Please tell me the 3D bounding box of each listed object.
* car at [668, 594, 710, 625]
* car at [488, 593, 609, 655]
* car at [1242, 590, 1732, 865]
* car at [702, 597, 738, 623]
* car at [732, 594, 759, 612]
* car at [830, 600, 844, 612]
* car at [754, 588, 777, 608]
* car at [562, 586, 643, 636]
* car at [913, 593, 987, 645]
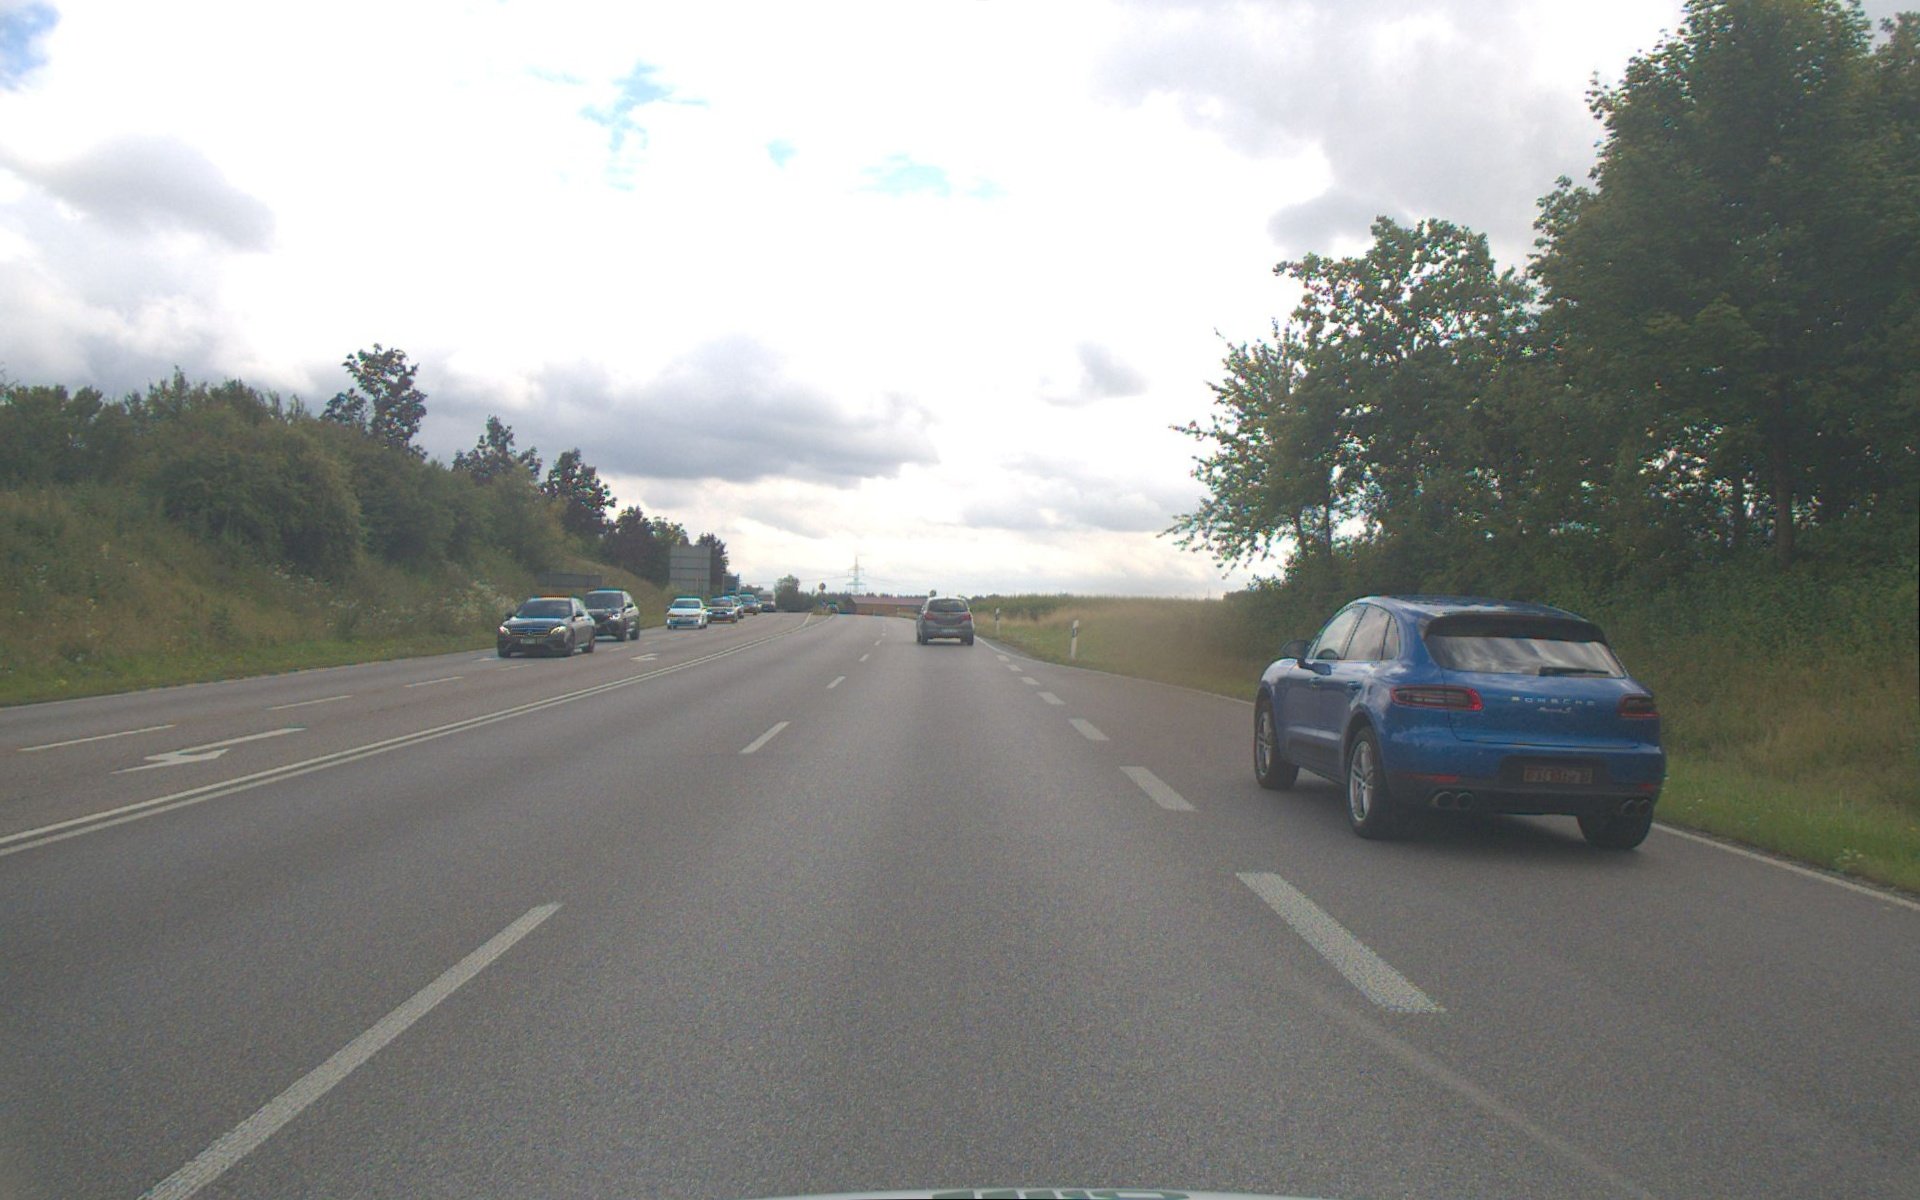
[{"bbox_3d":[-13.096,0.440,80.110,1.635,1.467,4.143,0,0,-4],"label":"car"},{"bbox_3d":[-10.674,0.588,43.299,1.953,1.520,4.992,0,0,-1],"label":"car"},{"bbox_3d":[3.590,0.764,12.339,1.953,1.598,4.754,2,0,-2],"label":"car"},{"bbox_3d":[-14.344,0.584,98.982,1.955,1.534,3.995,0,0,-6],"label":"car"},{"bbox_3d":[-18.031,0.249,139.239,1.954,1.534,3.997,0,0,-3],"label":"car"},{"bbox_3d":[-18.360,0.890,247.784,1.953,1.745,3.998,0,0,-2],"label":"car"},{"bbox_3d":[-22.186,-0.193,188.510,2.317,2.250,5.917,0,0,-4],"label":"car"},{"bbox_3d":[-12.256,0.363,56.977,1.954,1.639,4.989,0,0,-3],"label":"car"},{"bbox_3d":[-0.376,0.583,53.223,1.955,1.562,3.994,1,0,-6],"label":"car"}]
